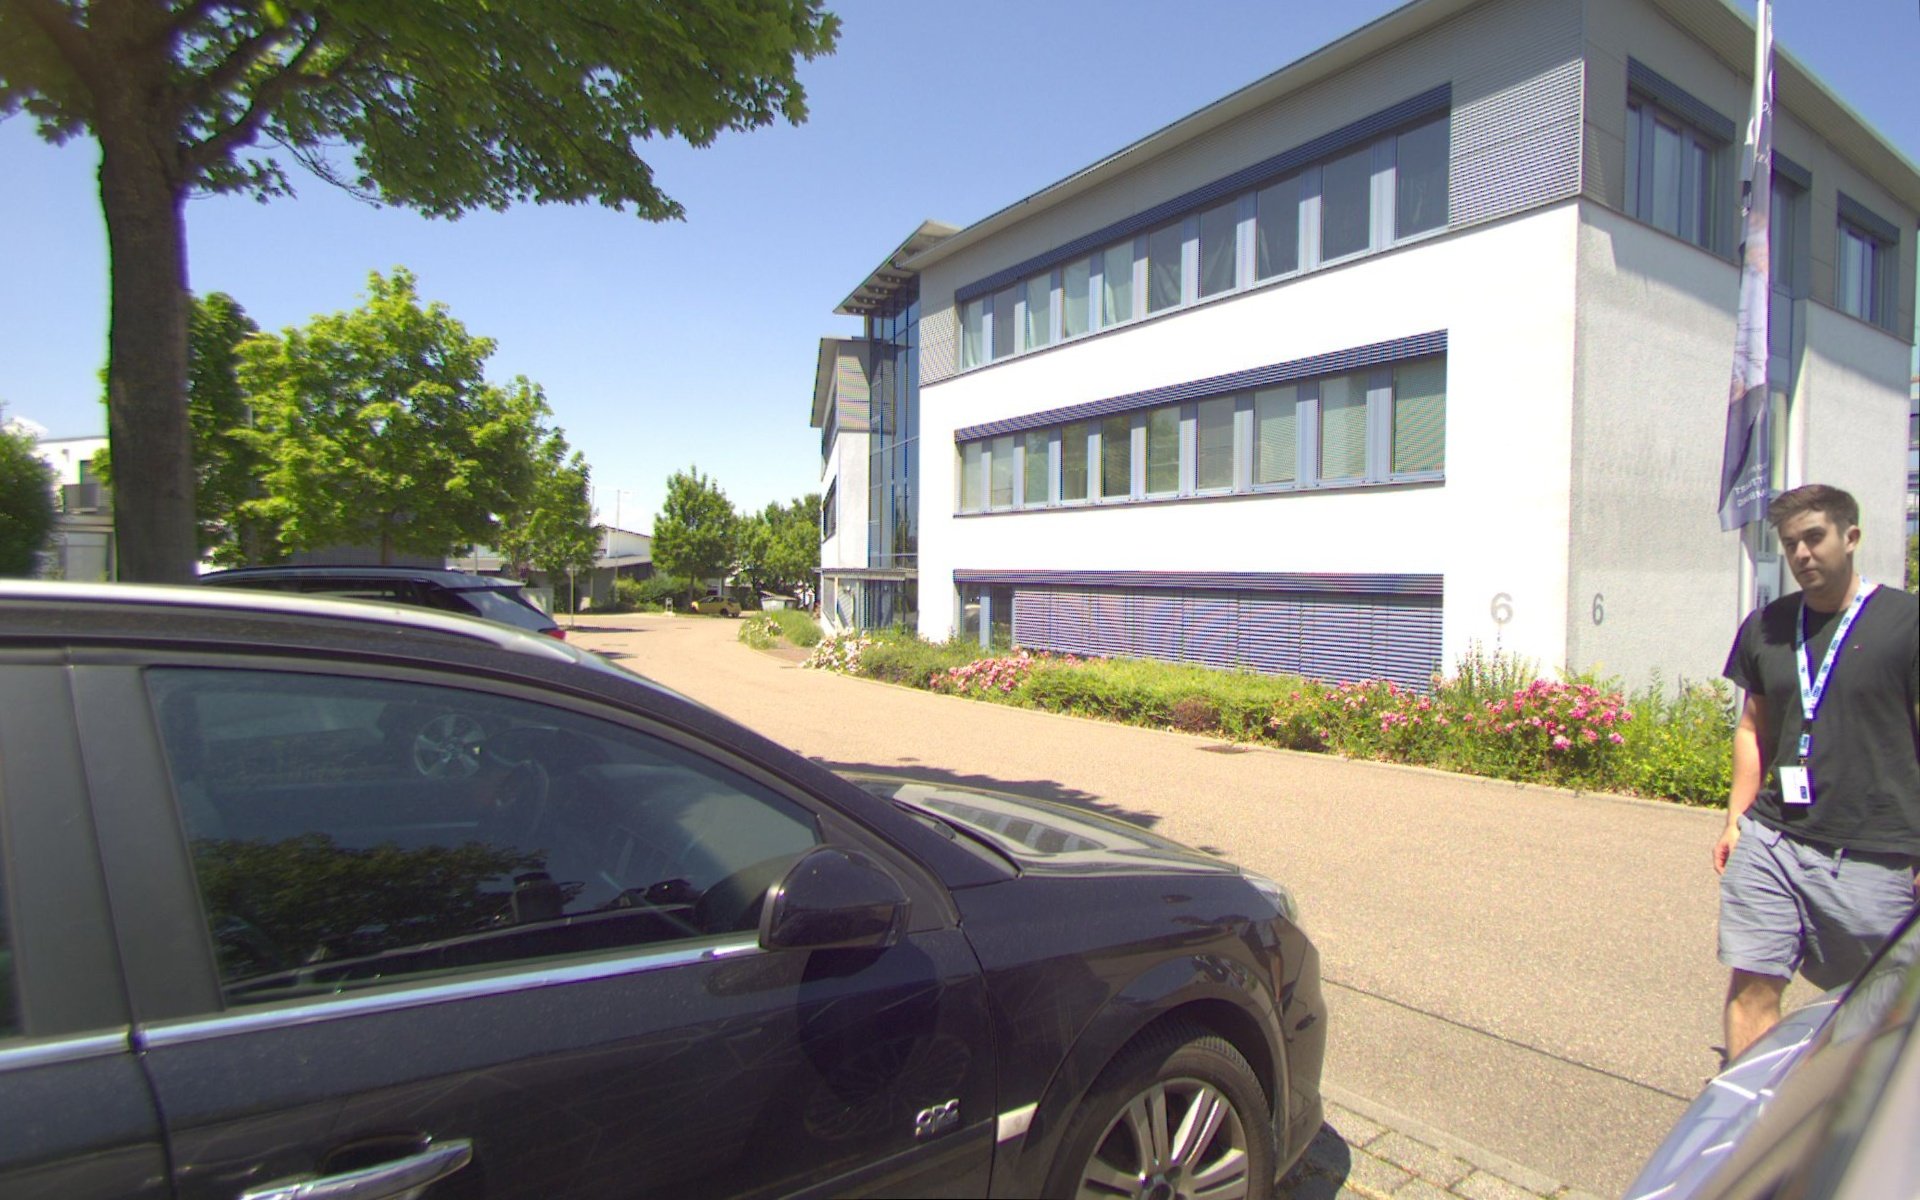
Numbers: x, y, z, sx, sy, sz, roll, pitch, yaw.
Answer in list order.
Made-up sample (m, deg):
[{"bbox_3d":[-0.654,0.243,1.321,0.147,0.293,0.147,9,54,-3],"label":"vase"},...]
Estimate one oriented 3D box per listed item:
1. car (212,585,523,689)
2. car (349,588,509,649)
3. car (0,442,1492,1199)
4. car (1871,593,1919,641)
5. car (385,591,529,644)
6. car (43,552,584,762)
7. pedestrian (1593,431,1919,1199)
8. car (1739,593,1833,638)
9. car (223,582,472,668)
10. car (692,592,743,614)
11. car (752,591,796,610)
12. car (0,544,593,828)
[{"bbox_3d":[-9.308,0.568,16.258,4.092,1.505,1.663,1,-1,-27],"label":"car"},{"bbox_3d":[-14.174,0.505,27.218,3.514,1.545,1.639,1,-1,-17],"label":"car"},{"bbox_3d":[-1.000,0.638,1.864,4.480,1.569,1.763,0,0,-37],"label":"car"},{"bbox_3d":[32.760,0.547,34.501,3.925,1.565,1.788,-1,1,-36],"label":"car"},{"bbox_3d":[-14.615,0.511,29.568,3.514,1.461,1.639,1,-1,-17],"label":"car"},{"bbox_3d":[-6.031,0.481,9.900,4.122,1.664,1.661,1,-1,-35],"label":"car"},{"bbox_3d":[2.356,0.567,2.596,0.886,1.843,0.862,0,0,-9],"label":"pedestrian"},{"bbox_3d":[30.659,0.526,37.531,3.925,1.565,1.788,-1,1,-36],"label":"car"},{"bbox_3d":[-12.356,0.509,20.730,4.090,1.625,1.664,1,-1,-21],"label":"car"},{"bbox_3d":[-17.057,0.194,71.124,3.172,1.460,1.580,0,0,18],"label":"car"},{"bbox_3d":[-15.159,0.023,82.385,3.172,1.460,1.580,0,0,18],"label":"car"},{"bbox_3d":[-5.128,0.518,7.393,4.249,1.664,1.857,1,-1,-35],"label":"car"}]
